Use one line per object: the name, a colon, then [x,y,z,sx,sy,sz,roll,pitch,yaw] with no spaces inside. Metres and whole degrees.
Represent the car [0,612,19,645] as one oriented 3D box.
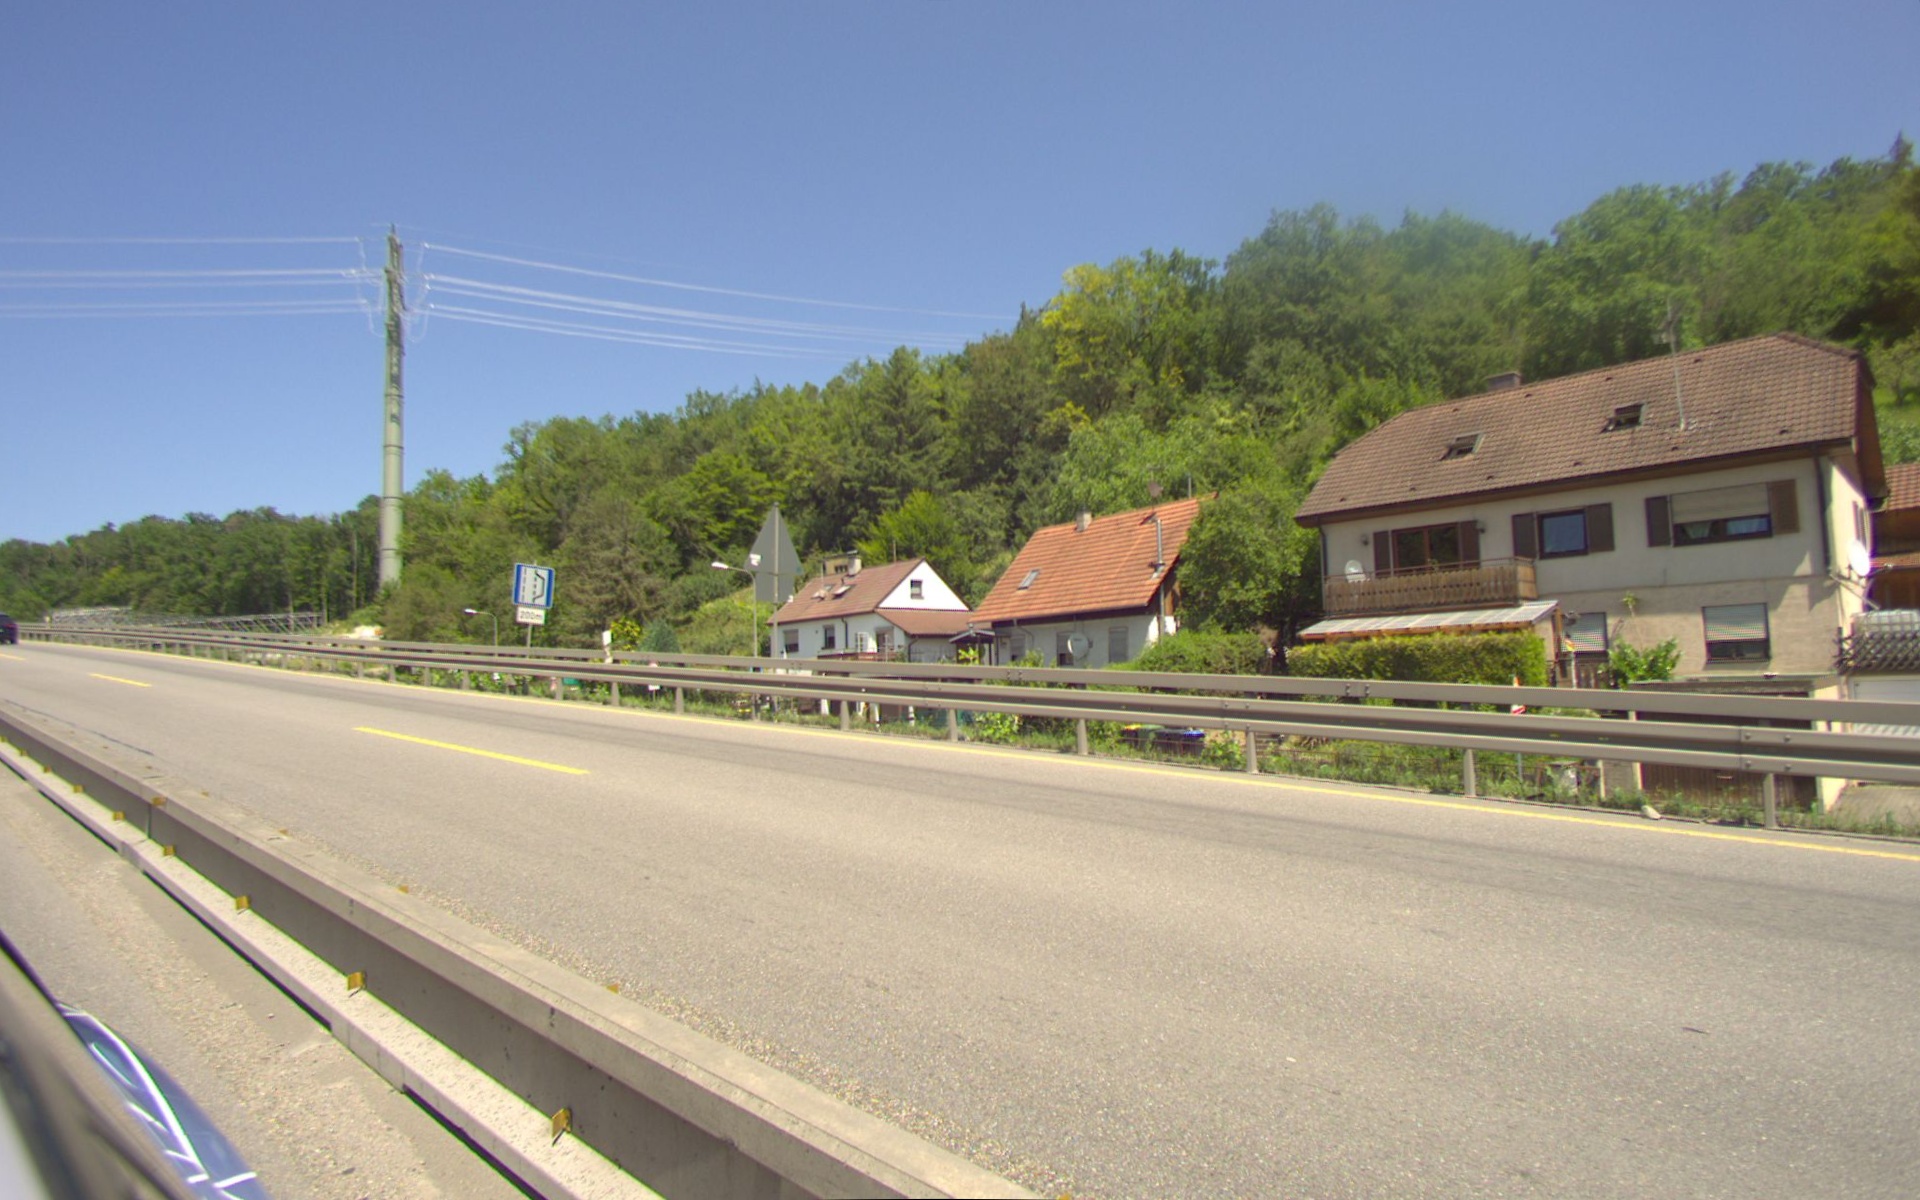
car: [-44.093,1.261,45.702,4.684,1.429,1.822,0,-2,41]
